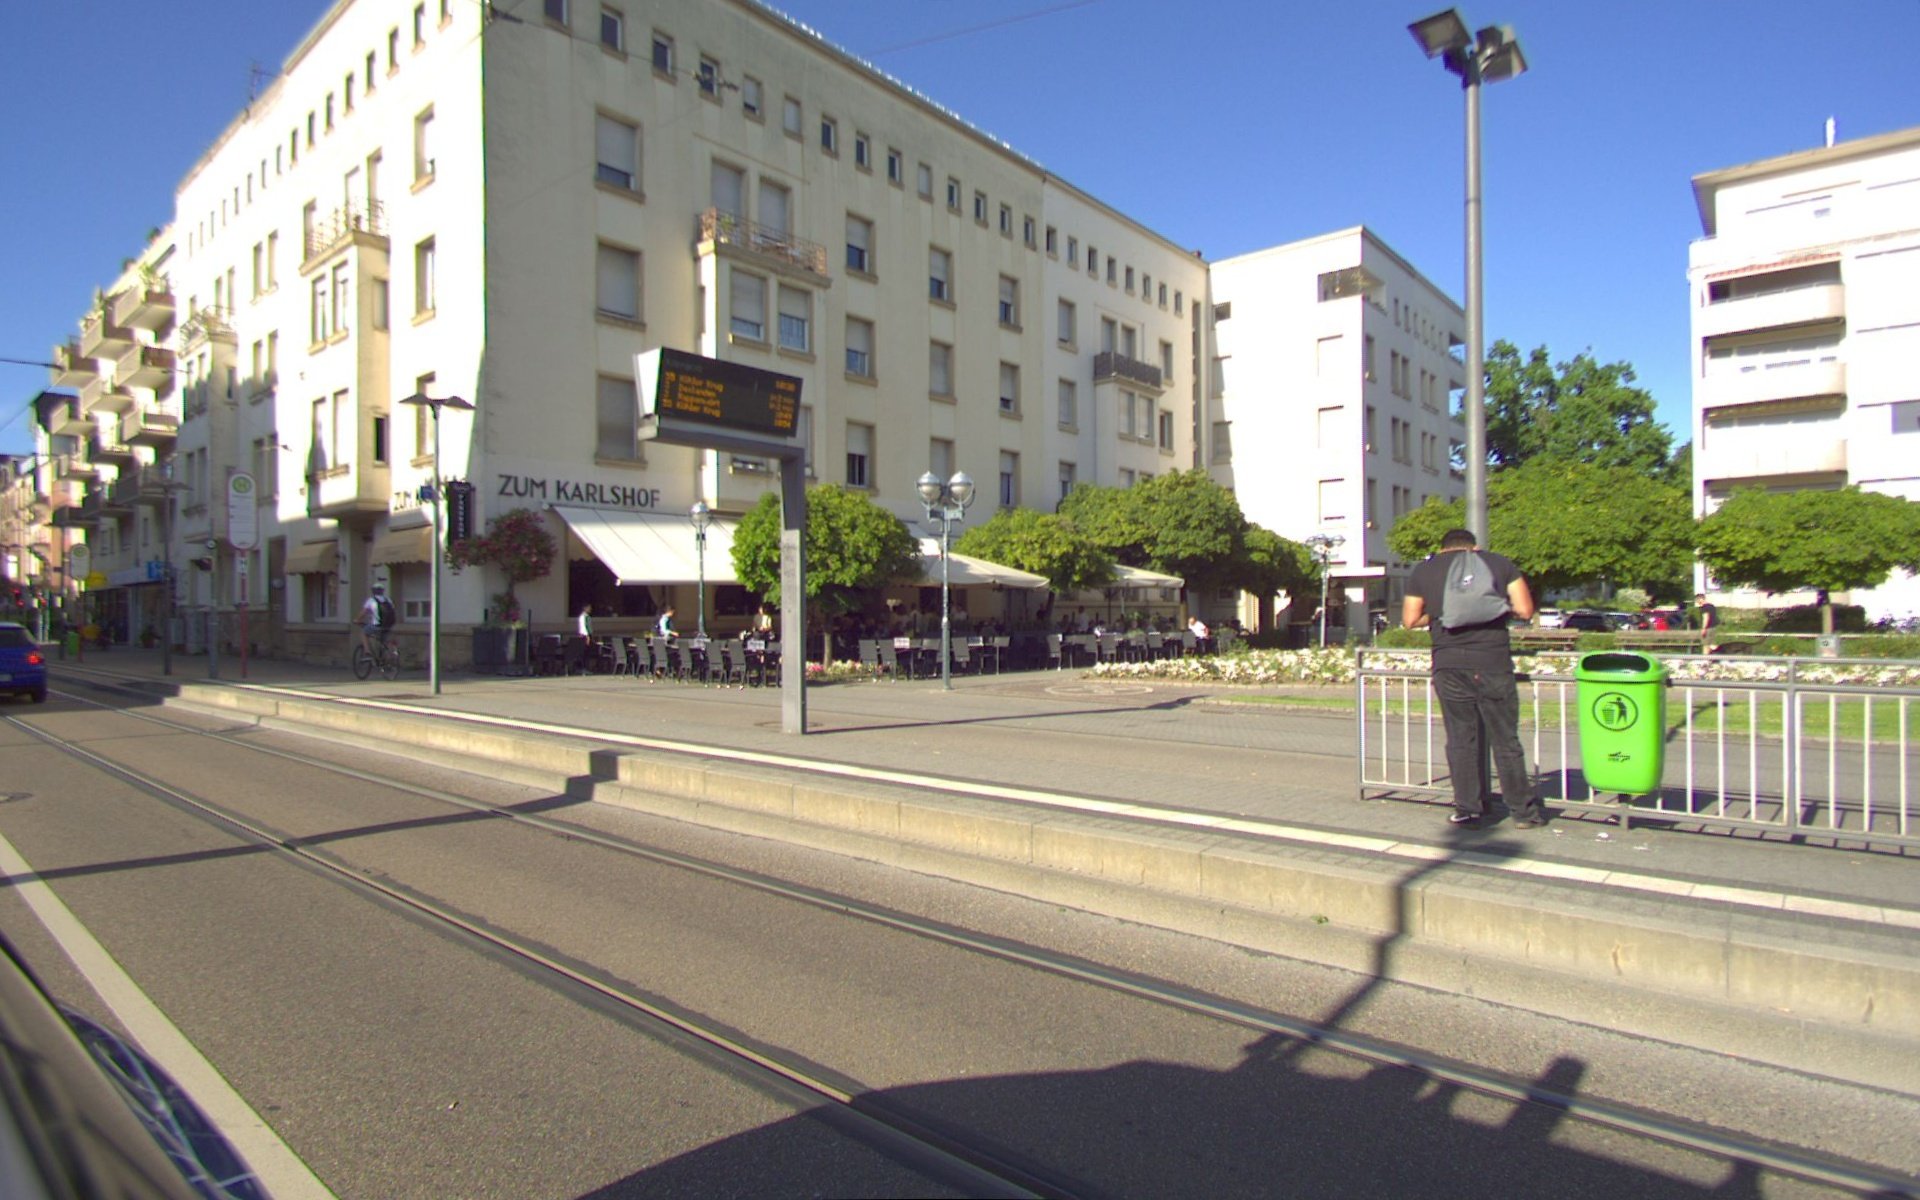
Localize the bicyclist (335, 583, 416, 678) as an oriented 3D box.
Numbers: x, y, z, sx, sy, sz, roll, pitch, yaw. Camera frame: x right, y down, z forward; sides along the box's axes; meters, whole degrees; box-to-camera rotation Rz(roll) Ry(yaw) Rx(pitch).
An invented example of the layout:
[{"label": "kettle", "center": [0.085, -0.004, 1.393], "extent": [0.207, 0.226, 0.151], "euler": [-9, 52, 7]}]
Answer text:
[{"label": "bicyclist", "center": [-11.457, 0.585, 19.839], "extent": [1.092, 1.807, 0.996], "euler": [-1, -1, 33]}]

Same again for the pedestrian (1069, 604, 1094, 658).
[{"label": "pedestrian", "center": [4.032, 1.045, 33.526], "extent": [0.677, 1.750, 0.671], "euler": [-3, -4, 14]}]

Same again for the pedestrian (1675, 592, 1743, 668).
[{"label": "pedestrian", "center": [18.477, 0.729, 24.958], "extent": [1.177, 1.801, 1.066], "euler": [-2, -1, 45]}]

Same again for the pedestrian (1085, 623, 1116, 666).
[{"label": "pedestrian", "center": [4.261, 1.347, 30.709], "extent": [0.672, 1.280, 0.636], "euler": [-5, -5, 36]}]

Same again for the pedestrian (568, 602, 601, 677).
[{"label": "pedestrian", "center": [-8.511, 0.912, 22.944], "extent": [0.662, 1.657, 0.753], "euler": [0, -4, -22]}]

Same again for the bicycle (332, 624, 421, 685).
[{"label": "bicycle", "center": [-11.478, 1.055, 19.877], "extent": [2.030, 1.134, 0.706], "euler": [-1, -1, 34]}]

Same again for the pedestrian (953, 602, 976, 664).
[{"label": "pedestrian", "center": [0.140, 0.975, 30.157], "extent": [0.641, 1.837, 0.576], "euler": [-1, -1, 5]}]

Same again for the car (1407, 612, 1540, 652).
[{"label": "car", "center": [17.614, 1.074, 34.792], "extent": [3.713, 1.310, 1.973], "euler": [-1, -1, 41]}]

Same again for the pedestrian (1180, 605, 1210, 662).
[{"label": "pedestrian", "center": [7.435, 1.062, 32.082], "extent": [0.710, 1.750, 0.673], "euler": [-2, -4, 1]}]

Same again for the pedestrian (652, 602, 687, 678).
[{"label": "pedestrian", "center": [-6.483, 0.907, 22.622], "extent": [0.663, 1.657, 0.678], "euler": [-1, -4, -10]}]

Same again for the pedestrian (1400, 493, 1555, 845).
[{"label": "pedestrian", "center": [2.755, 0.347, 5.396], "extent": [0.607, 1.731, 0.542], "euler": [-1, -3, 43]}]

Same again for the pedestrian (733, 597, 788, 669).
[{"label": "pedestrian", "center": [-4.761, 0.807, 24.166], "extent": [0.755, 1.657, 1.054], "euler": [-5, -5, 36]}]

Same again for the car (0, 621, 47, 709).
[{"label": "car", "center": [-18.168, 1.167, 18.529], "extent": [3.997, 1.499, 1.650], "euler": [-1, 0, 40]}]

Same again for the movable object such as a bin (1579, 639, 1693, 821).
[{"label": "movable object such as a bin", "center": [3.437, 0.635, 5.148], "extent": [0.416, 0.866, 0.332], "euler": [-1, -1, 44]}]

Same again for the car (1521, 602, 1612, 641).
[{"label": "car", "center": [24.271, 0.866, 40.517], "extent": [2.932, 1.497, 1.399], "euler": [-1, -1, 41]}]

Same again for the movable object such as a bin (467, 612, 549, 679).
[{"label": "movable object such as a bin", "center": [-9.994, 0.984, 22.373], "extent": [1.127, 1.410, 1.302], "euler": [-1, -1, 40]}]
